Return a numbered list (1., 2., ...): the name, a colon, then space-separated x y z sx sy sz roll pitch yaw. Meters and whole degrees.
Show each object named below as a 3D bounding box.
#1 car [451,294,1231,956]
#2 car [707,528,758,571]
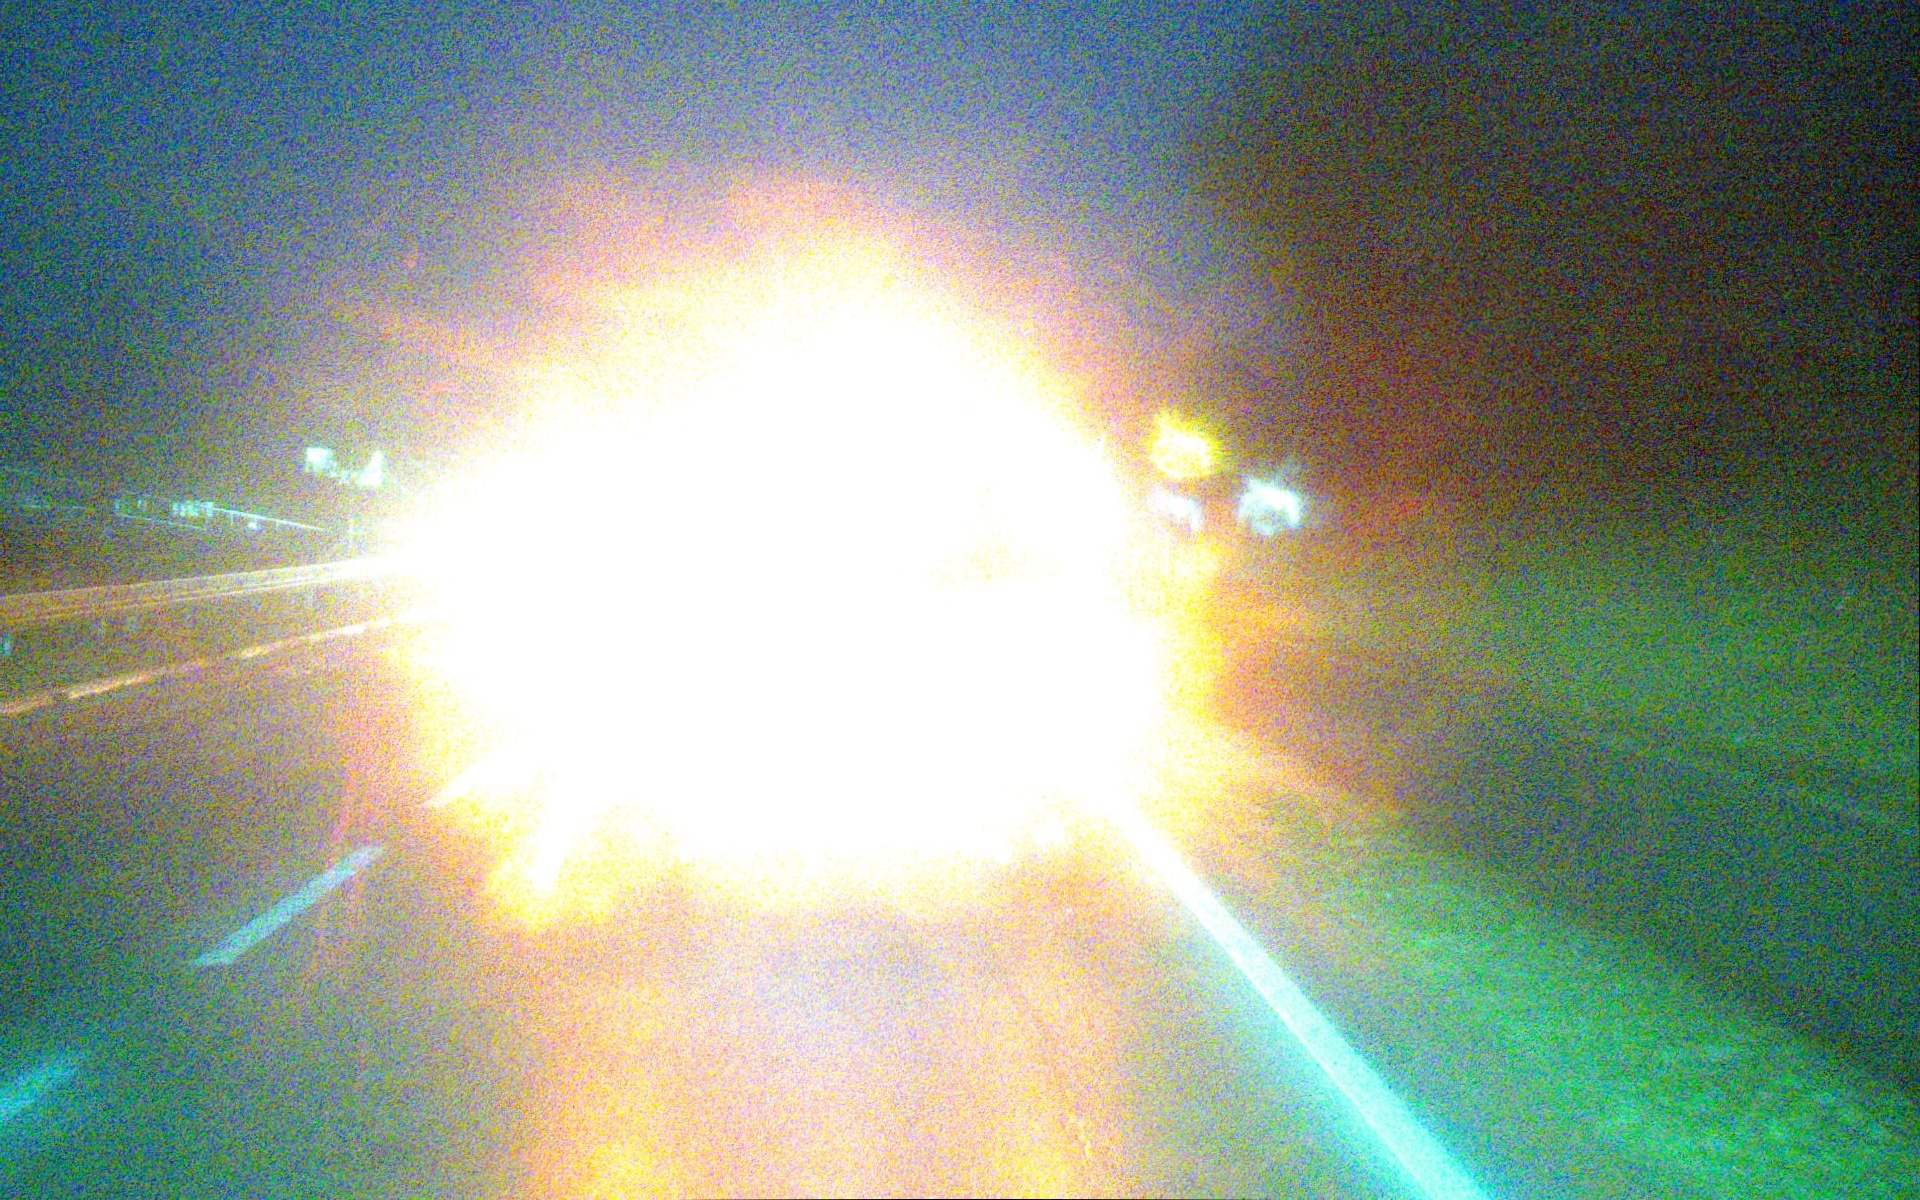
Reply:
1. car: -0.513 0.017 15.150 2.715 2.299 6.101 1 1 -2
2. car: -8.193 -1.836 124.114 1.543 1.505 3.880 1 1 0
